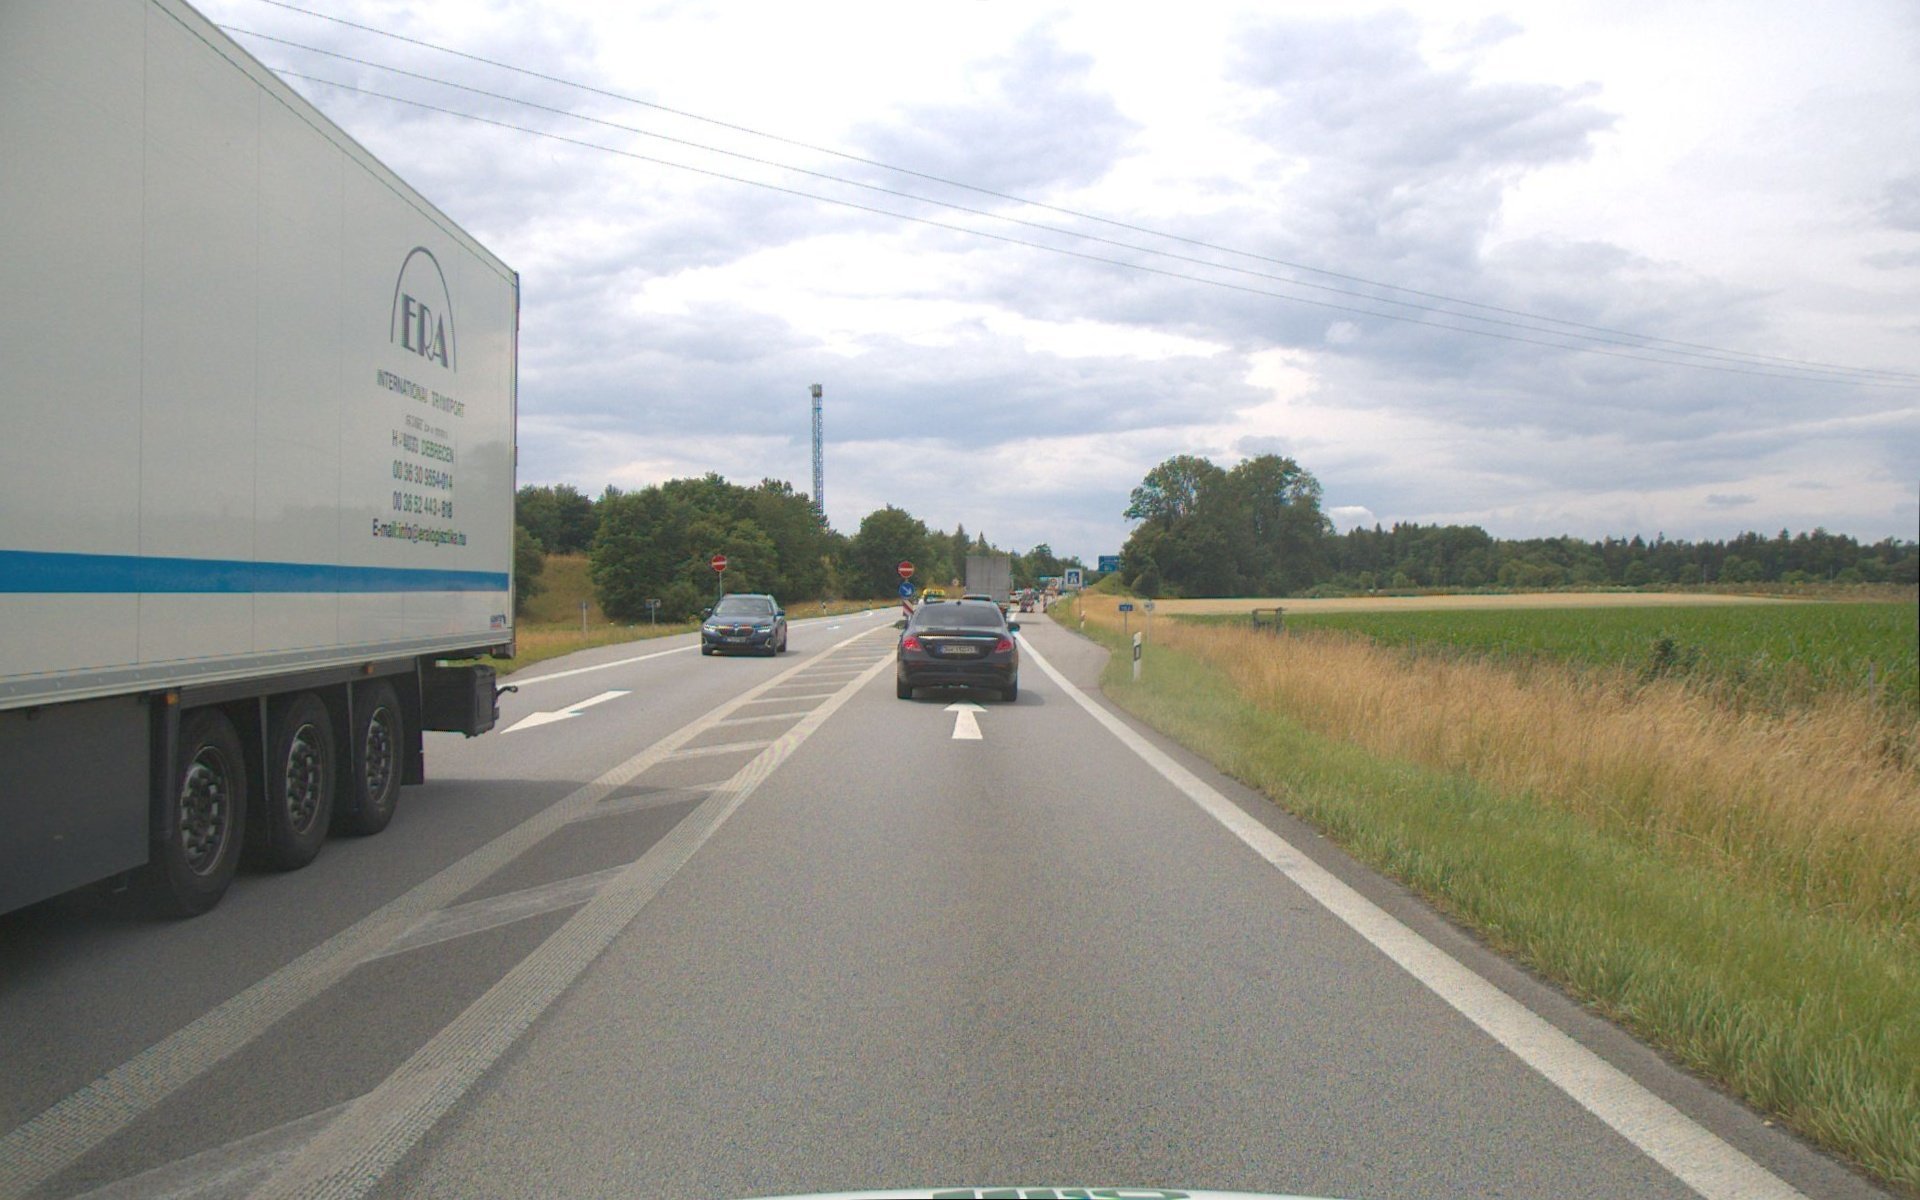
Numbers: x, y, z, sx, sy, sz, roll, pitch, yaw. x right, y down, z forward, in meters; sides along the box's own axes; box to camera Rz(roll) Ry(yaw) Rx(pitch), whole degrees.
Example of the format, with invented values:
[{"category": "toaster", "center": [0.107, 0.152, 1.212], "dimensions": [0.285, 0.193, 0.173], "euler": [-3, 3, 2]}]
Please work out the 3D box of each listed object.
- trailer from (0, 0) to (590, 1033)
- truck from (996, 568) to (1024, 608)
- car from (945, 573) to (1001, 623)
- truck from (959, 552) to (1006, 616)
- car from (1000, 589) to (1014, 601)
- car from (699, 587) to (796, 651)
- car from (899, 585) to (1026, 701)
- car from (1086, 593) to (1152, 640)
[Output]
[{"category": "trailer", "center": [-4.313, -0.682, 7.755], "dimensions": [2.439, 4.065, 13.073], "euler": [0, 0, -1]}, {"category": "truck", "center": [4.519, -1.048, 150.670], "dimensions": [1.955, 3.587, 4.587], "euler": [1, 0, -5]}, {"category": "car", "center": [0.511, -0.079, 70.647], "dimensions": [1.955, 2.049, 3.995], "euler": [1, 0, -5]}, {"category": "truck", "center": [1.349, -0.887, 95.861], "dimensions": [2.533, 3.586, 4.813], "euler": [1, 0, 2]}, {"category": "car", "center": [5.893, -0.651, 209.205], "dimensions": [1.615, 1.420, 3.705], "euler": [1, 0, -1]}, {"category": "car", "center": [-5.344, 0.471, 42.198], "dimensions": [1.820, 1.505, 5.197], "euler": [1, 0, -1]}, {"category": "car", "center": [0.086, 0.618, 25.302], "dimensions": [1.758, 1.587, 4.000], "euler": [1, 0, 1]}, {"category": "car", "center": [6.072, 0.623, 63.654], "dimensions": [1.761, 1.691, 3.995], "euler": [1, 0, -5]}]
